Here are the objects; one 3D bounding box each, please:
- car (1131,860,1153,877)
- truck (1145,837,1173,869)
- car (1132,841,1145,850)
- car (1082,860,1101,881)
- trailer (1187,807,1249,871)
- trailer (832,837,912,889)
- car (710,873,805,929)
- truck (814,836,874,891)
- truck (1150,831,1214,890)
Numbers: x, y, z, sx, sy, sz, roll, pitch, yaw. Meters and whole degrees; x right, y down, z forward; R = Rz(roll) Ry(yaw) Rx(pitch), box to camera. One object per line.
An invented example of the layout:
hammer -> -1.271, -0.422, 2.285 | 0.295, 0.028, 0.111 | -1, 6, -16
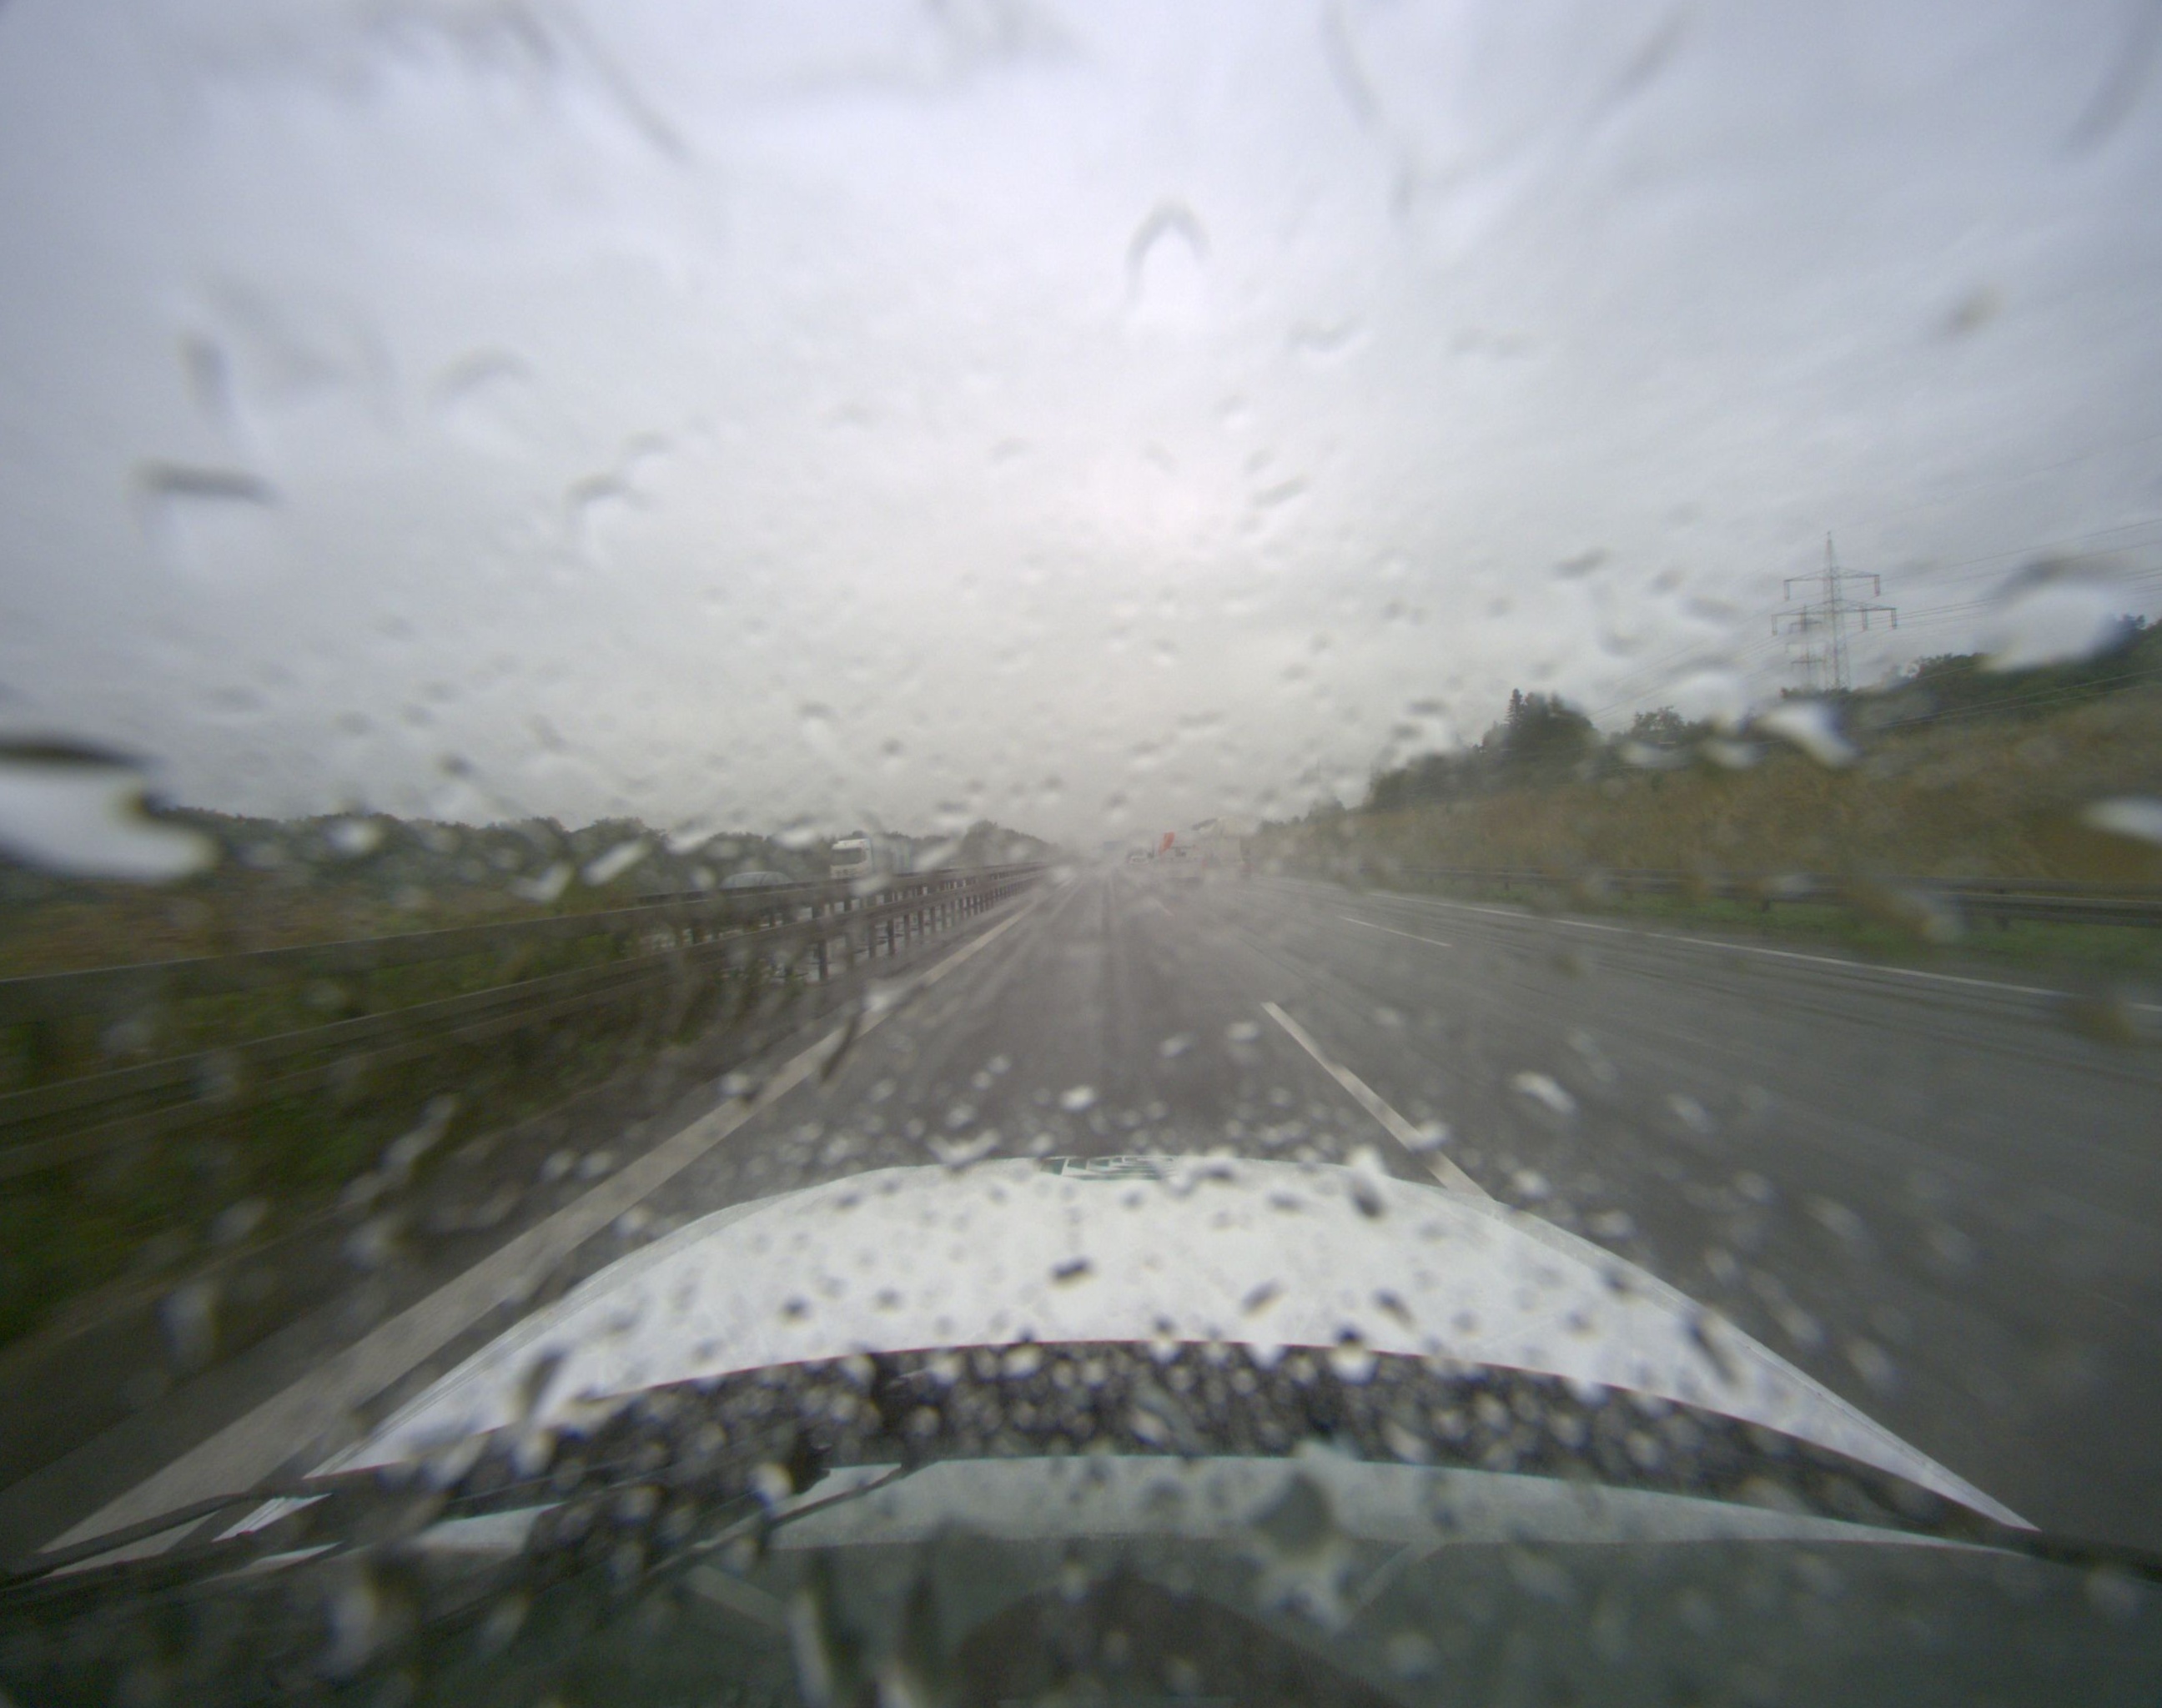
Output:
car -> 4.953, 1.141, 66.475 | 1.600, 1.338, 3.849 | -1, 0, 1
truck -> 12.044, -0.023, 127.104 | 3.029, 4.588, 16.349 | -1, -1, 1
car -> 13.271, -1.943, 187.668 | 2.778, 2.014, 4.994 | -1, 0, 1
car -> 0.993, 1.523, 76.407 | 1.695, 1.818, 3.863 | -1, 0, 2
trailer -> 9.150, -0.891, 55.559 | 2.488, 3.882, 11.067 | -1, 0, 1
trailer -> -16.852, 0.701, 67.109 | 2.623, 3.804, 13.590 | -1, 0, 2
car -> -10.707, 1.516, 27.227 | 1.671, 1.677, 3.578 | -1, 0, 1
truck -> -17.128, 0.670, 59.257 | 2.612, 3.805, 5.402 | -1, 0, 2
truck -> 4.506, 0.279, 37.373 | 2.410, 2.492, 5.562 | -1, 0, 2
